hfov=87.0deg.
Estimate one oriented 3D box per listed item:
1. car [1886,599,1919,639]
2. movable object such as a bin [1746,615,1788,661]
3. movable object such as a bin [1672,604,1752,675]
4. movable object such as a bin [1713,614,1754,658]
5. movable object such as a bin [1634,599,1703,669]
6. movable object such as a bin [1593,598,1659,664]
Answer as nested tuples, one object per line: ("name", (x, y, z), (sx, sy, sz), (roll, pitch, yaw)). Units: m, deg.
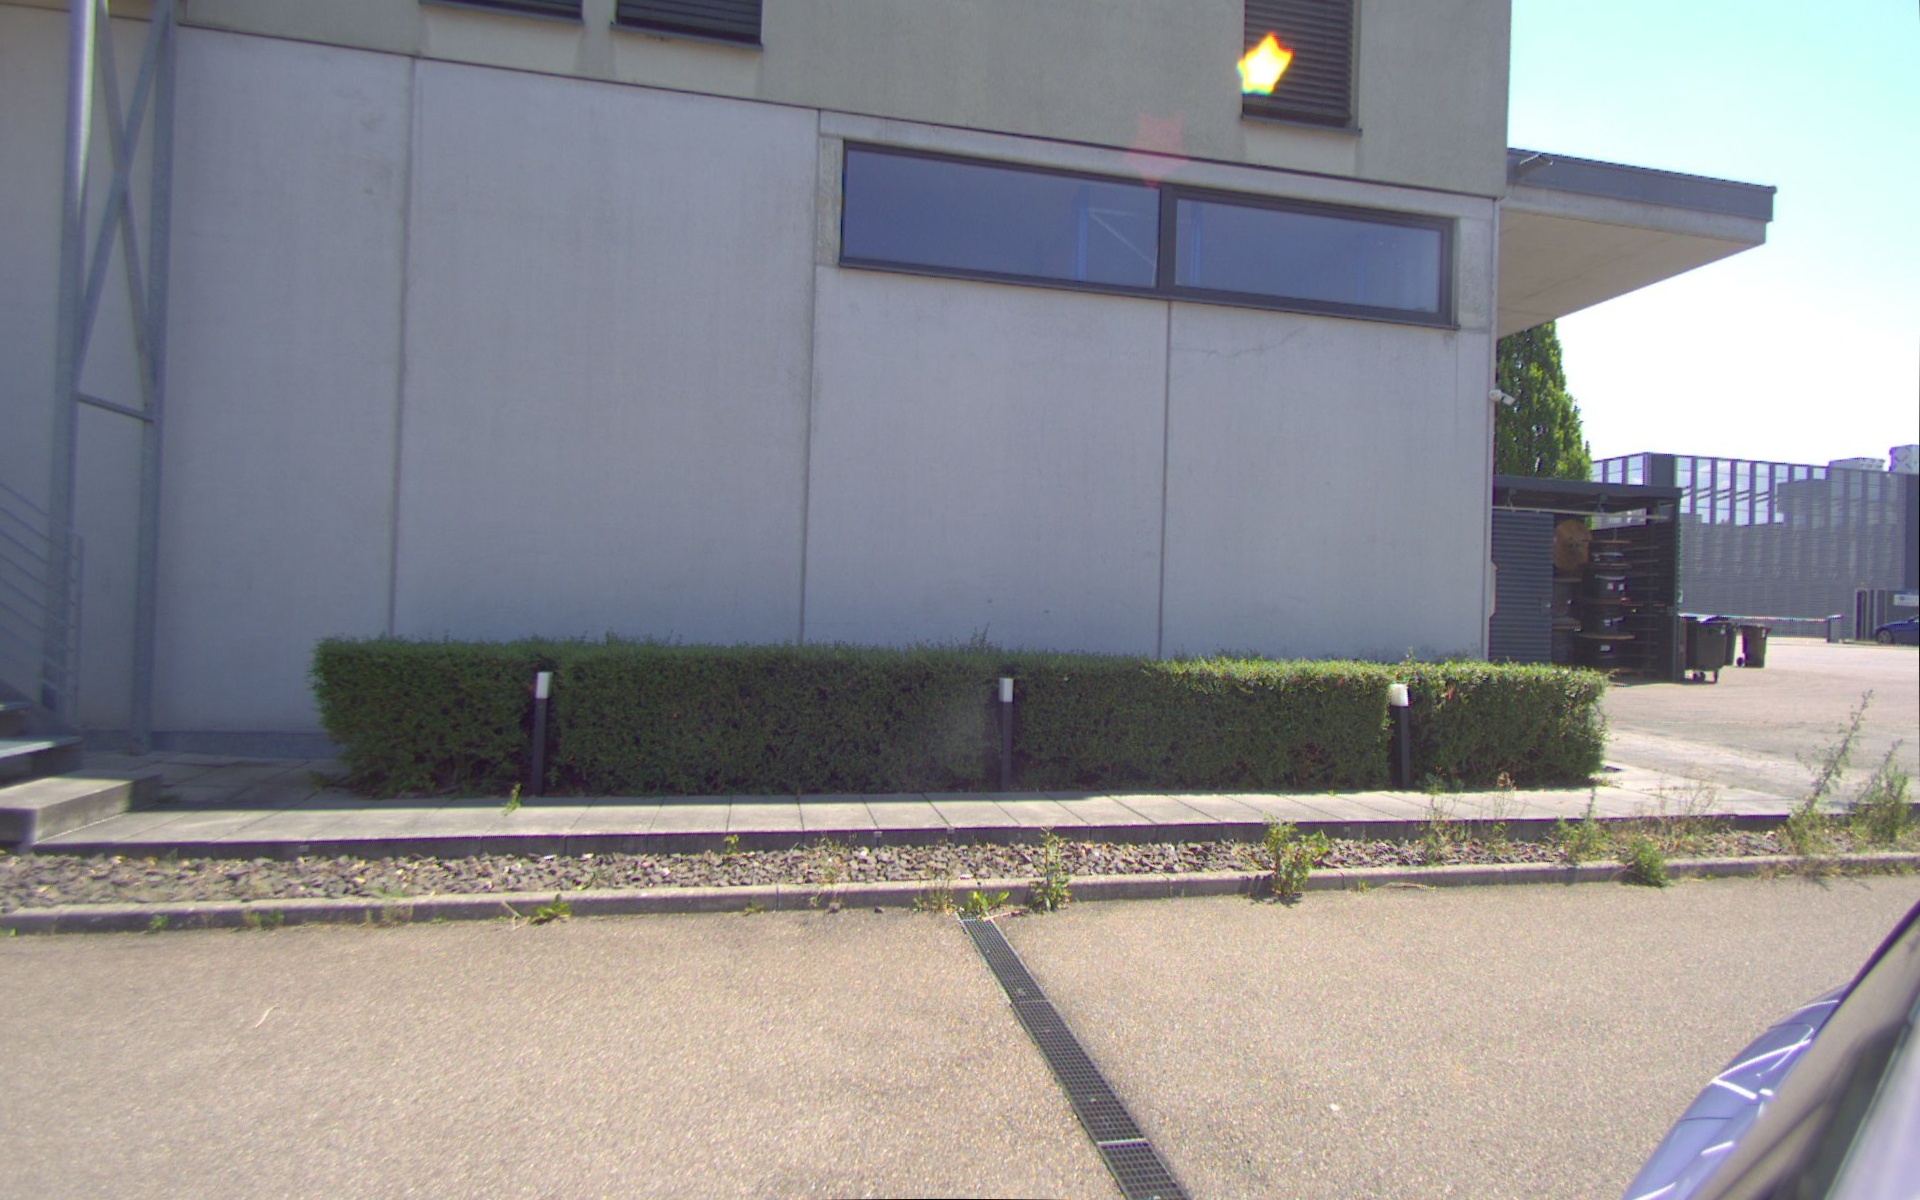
("car", (35.340, 0.718, 35.397), (1.825, 1.427, 4.445), (1, 1, 1))
("movable object such as a bin", (17.355, 0.806, 21.757), (0.537, 0.929, 0.585), (0, 1, -36))
("movable object such as a bin", (13.889, 0.719, 18.720), (0.786, 1.265, 0.877), (0, 1, -3))
("movable object such as a bin", (17.030, 0.788, 22.282), (0.537, 0.929, 0.585), (0, 1, -36))
("movable object such as a bin", (13.781, 0.656, 19.704), (0.786, 1.314, 0.757), (0, 1, -3))
("movable object such as a bin", (13.718, 0.622, 20.860), (0.786, 1.314, 0.811), (0, 1, -3))
